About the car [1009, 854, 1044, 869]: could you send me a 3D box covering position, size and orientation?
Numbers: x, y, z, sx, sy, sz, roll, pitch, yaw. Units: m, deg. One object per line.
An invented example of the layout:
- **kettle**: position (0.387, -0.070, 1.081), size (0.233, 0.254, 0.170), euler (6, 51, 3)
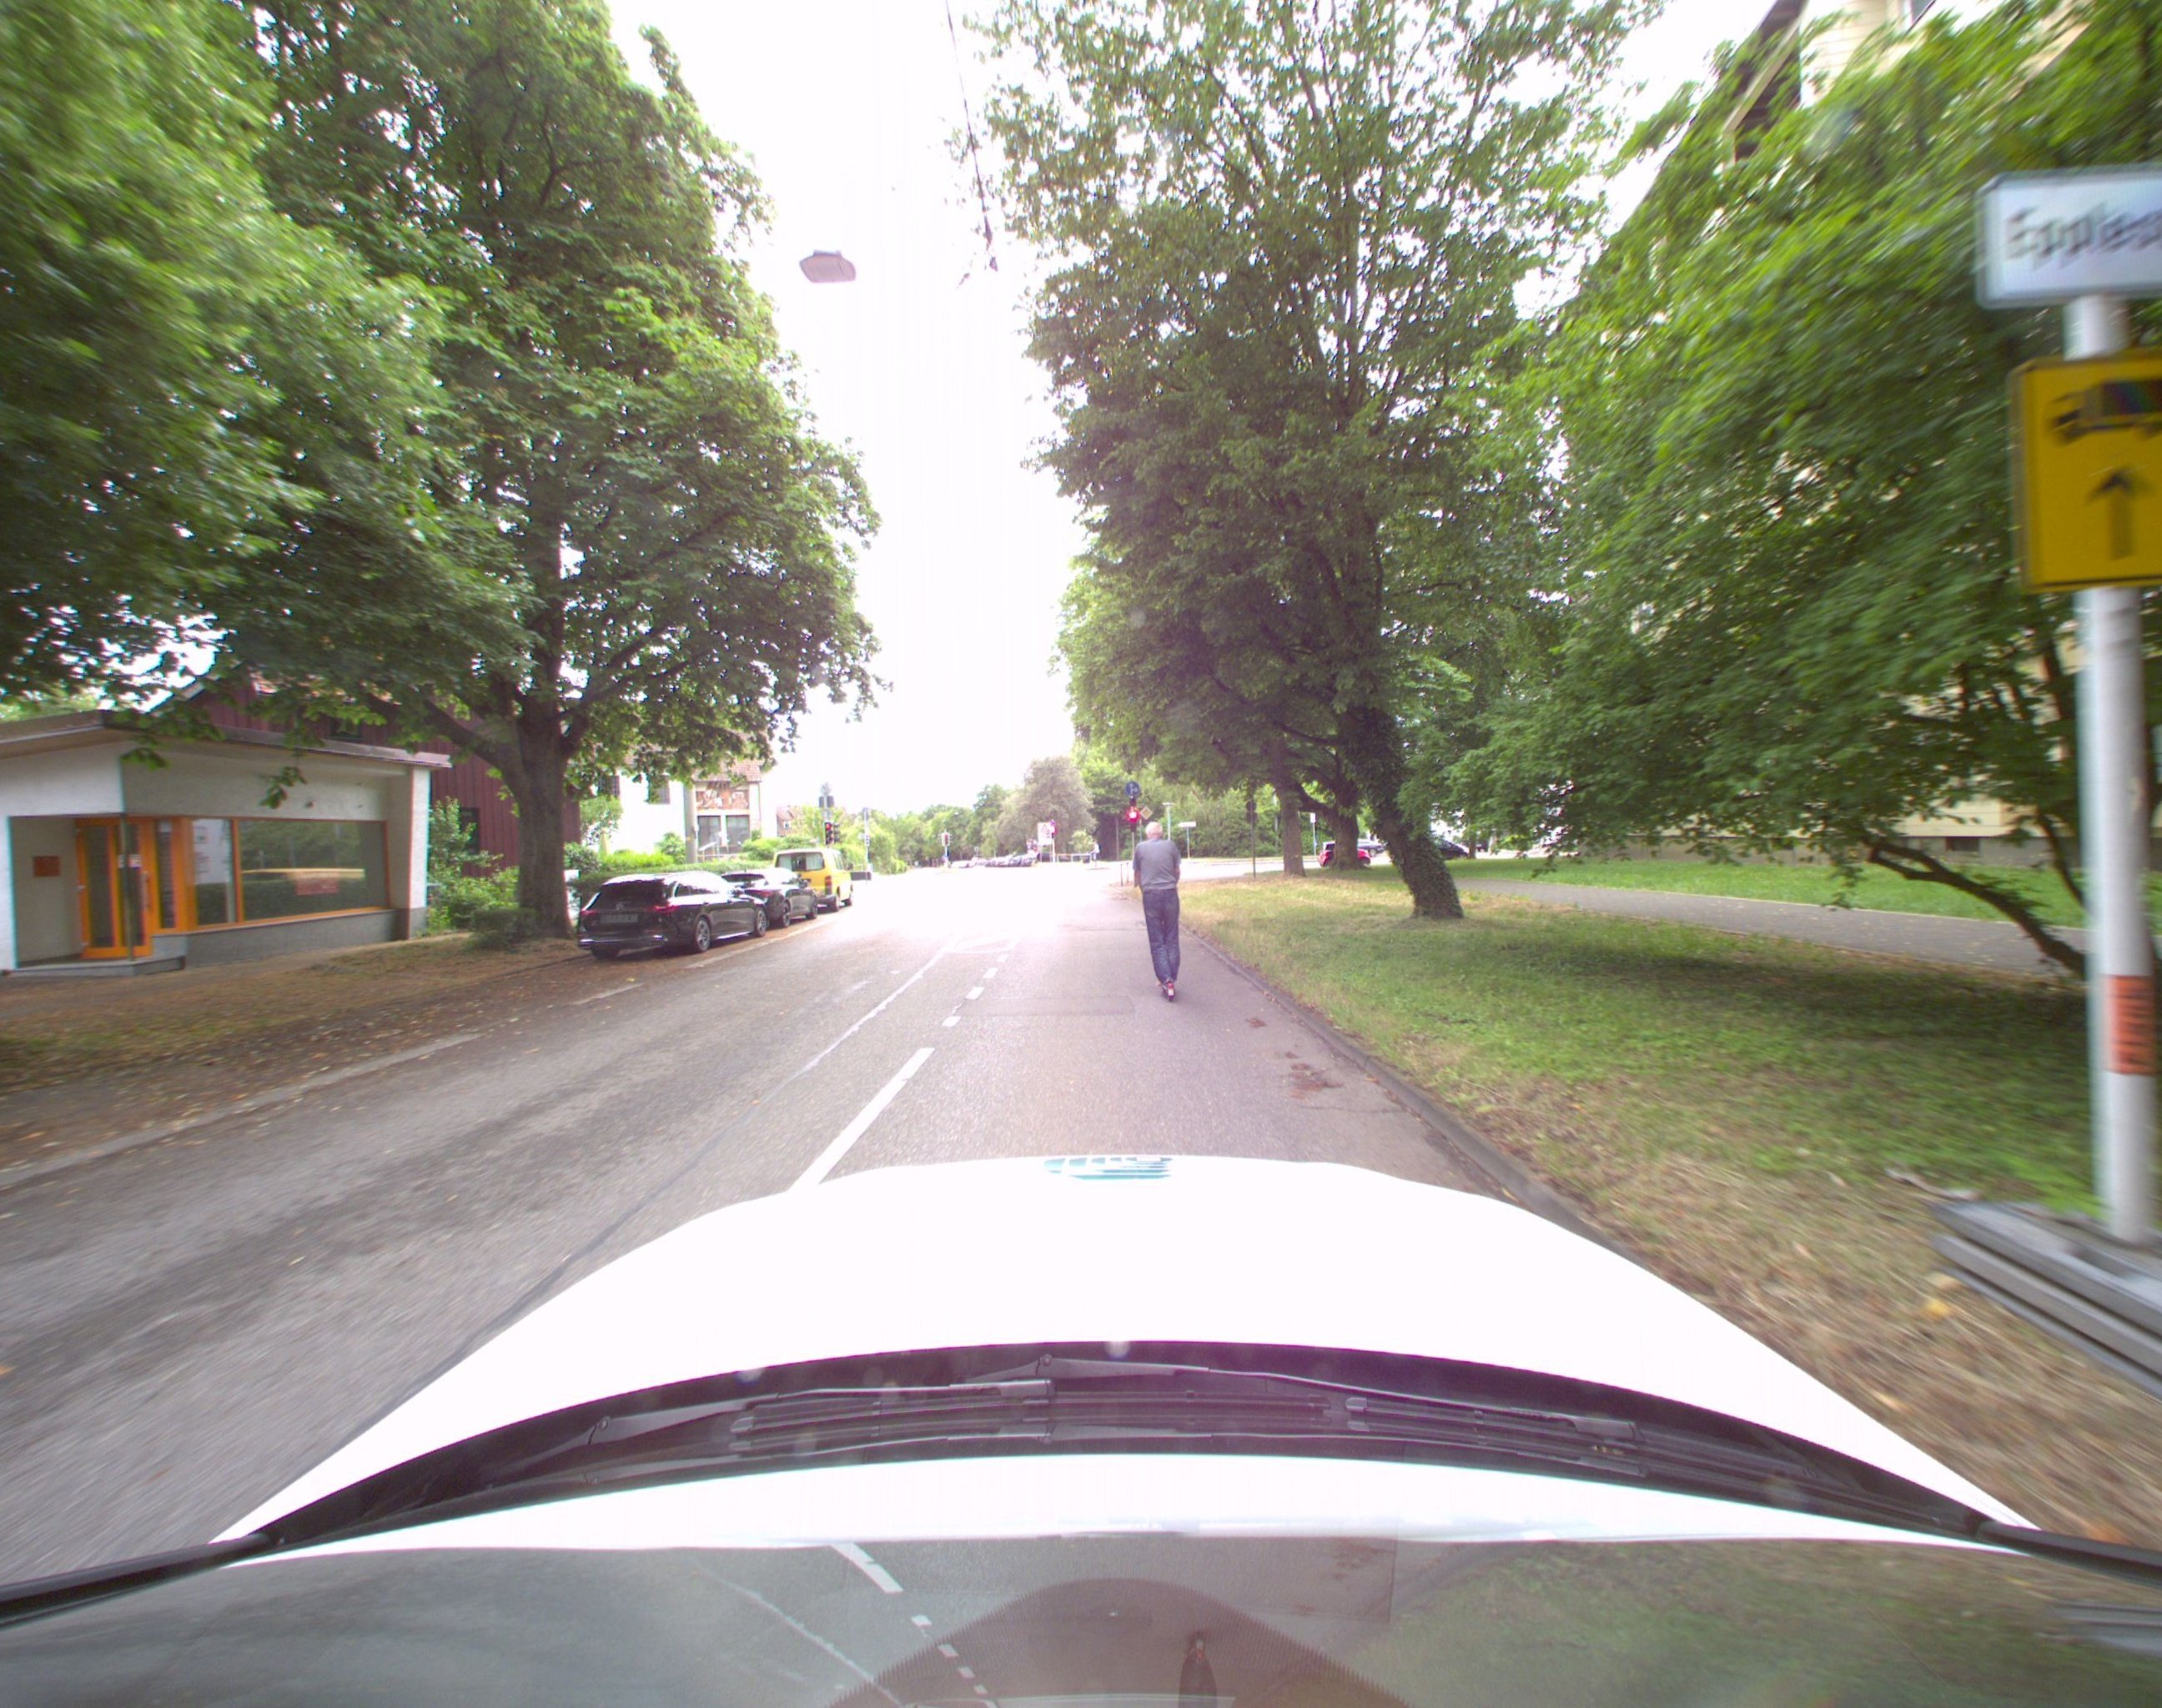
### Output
- **car**: position (-6.483, 0.912, 96.394), size (3.981, 1.510, 1.797), euler (-3, 0, -6)

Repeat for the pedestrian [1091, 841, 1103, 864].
- **pedestrian**: position (1.271, -0.115, 63.497), size (0.726, 1.761, 0.664), euler (-3, 0, 16)

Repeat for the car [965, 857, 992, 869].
- **car**: position (-15.562, 1.367, 123.848), size (3.981, 1.510, 1.797), euler (-3, 0, -6)

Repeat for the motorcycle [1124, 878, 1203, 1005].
- **motorcycle**: position (0.856, 0.891, 8.766), size (0.671, 1.217, 1.273), euler (-1, 0, -1)

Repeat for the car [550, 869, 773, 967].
- **car**: position (-7.562, 1.065, 15.294), size (1.887, 1.410, 4.550), euler (-3, 0, -2)

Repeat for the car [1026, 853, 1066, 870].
- **car**: position (-3.562, 0.772, 82.579), size (3.981, 1.510, 1.797), euler (-3, 0, -6)

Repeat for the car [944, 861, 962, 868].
- **car**: position (-30.762, 2.549, 195.377), size (3.981, 1.510, 1.797), euler (-3, 0, -6)

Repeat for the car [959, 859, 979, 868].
- **car**: position (-23.884, 2.012, 173.455), size (3.981, 1.510, 1.797), euler (-3, 0, -6)

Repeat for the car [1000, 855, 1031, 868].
- **car**: position (-8.578, 0.976, 106.998), size (3.981, 1.510, 1.797), euler (-3, 0, -6)

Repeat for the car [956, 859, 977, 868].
- **car**: position (-22.791, 1.837, 161.823), size (3.981, 1.510, 1.797), euler (-3, 0, -6)

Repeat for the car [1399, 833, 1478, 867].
- **car**: position (19.799, -0.218, 45.217), size (3.952, 1.726, 1.810), euler (0, 3, 22)

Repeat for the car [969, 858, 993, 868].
- **car**: position (-17.574, 1.519, 143.354), size (3.981, 1.510, 1.797), euler (-3, 0, -6)

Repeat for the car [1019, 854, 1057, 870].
- **car**: position (-4.742, 0.826, 89.651), size (3.981, 1.510, 1.797), euler (-3, 0, -6)

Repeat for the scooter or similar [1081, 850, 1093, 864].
- **scooter or similar**: position (0.503, 0.269, 63.876), size (0.704, 1.049, 0.791), euler (-3, 0, 16)

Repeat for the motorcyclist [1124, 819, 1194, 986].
- **motorcyclist**: position (0.842, 0.511, 8.973), size (0.671, 1.761, 0.638), euler (-1, 0, -2)

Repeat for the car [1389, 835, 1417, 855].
- **car**: position (26.253, -0.762, 66.261), size (1.777, 1.510, 4.024), euler (-3, 0, 26)

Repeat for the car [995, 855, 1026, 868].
- **car**: position (-9.395, 1.014, 108.850), size (3.981, 1.510, 1.797), euler (-3, 0, -6)

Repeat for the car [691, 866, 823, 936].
- **car**: position (-7.982, 1.082, 20.501), size (1.791, 1.416, 4.184), euler (-3, 0, -4)

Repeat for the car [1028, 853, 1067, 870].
- **car**: position (-3.596, 0.766, 86.158), size (3.981, 1.510, 1.797), euler (-3, 0, -6)

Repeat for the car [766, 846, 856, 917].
- **car**: position (-8.536, 0.825, 26.119), size (1.856, 1.964, 4.492), euler (-3, 0, -8)

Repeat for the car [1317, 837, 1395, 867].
- **car**: position (15.662, -0.140, 46.532), size (3.963, 1.557, 1.806), euler (-1, 3, 9)

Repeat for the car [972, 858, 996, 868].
- **car**: position (-16.657, 1.493, 140.485), size (3.981, 1.510, 1.797), euler (-3, 0, -6)

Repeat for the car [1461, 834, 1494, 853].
- **car**: position (33.612, -0.910, 69.183), size (2.065, 1.510, 4.020), euler (-3, 0, 20)
